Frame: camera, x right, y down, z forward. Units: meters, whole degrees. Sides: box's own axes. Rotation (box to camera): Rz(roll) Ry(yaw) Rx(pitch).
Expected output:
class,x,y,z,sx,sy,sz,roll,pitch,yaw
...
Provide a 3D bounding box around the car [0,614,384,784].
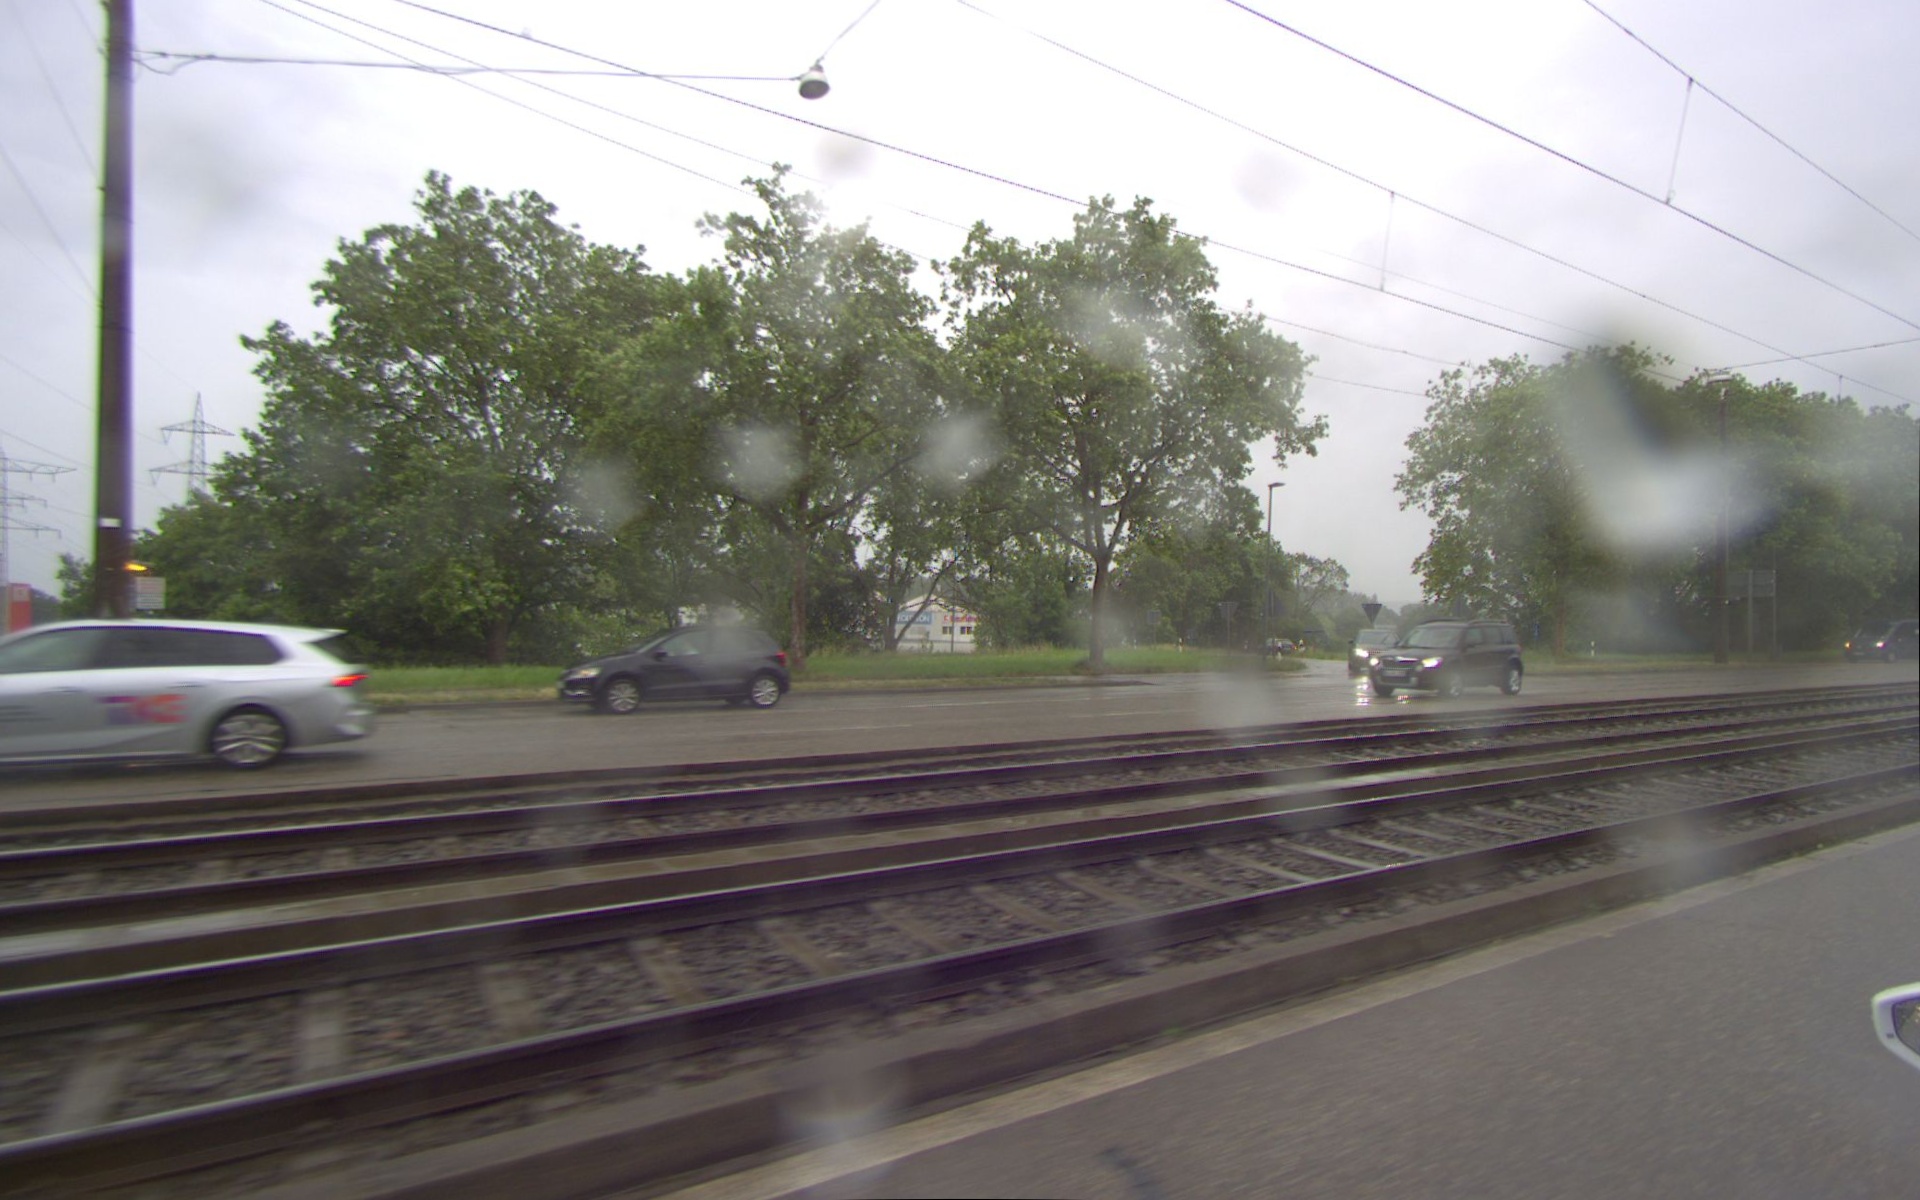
class,x,y,z,sx,sy,sz,roll,pitch,yaw
car,-8.052,0.848,9.486,4.495,1.372,1.732,0,1,-32

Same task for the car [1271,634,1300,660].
class,x,y,z,sx,sy,sz,roll,pitch,yaw
car,24.298,3.476,75.007,1.628,1.684,3.620,1,1,11

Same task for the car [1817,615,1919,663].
class,x,y,z,sx,sy,sz,roll,pitch,yaw
car,50.949,2.100,55.046,5.730,2.458,2.340,1,1,6

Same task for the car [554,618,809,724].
class,x,y,z,sx,sy,sz,roll,pitch,yaw
car,-4.773,1.135,17.405,3.957,1.573,1.679,0,1,-33

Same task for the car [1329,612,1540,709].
class,x,y,z,sx,sy,sz,roll,pitch,yaw
car,10.367,1.212,21.821,4.952,1.834,1.875,0,1,-34

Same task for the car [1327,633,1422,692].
class,x,y,z,sx,sy,sz,roll,pitch,yaw
car,14.674,2.155,35.830,1.810,1.709,4.651,1,1,5
